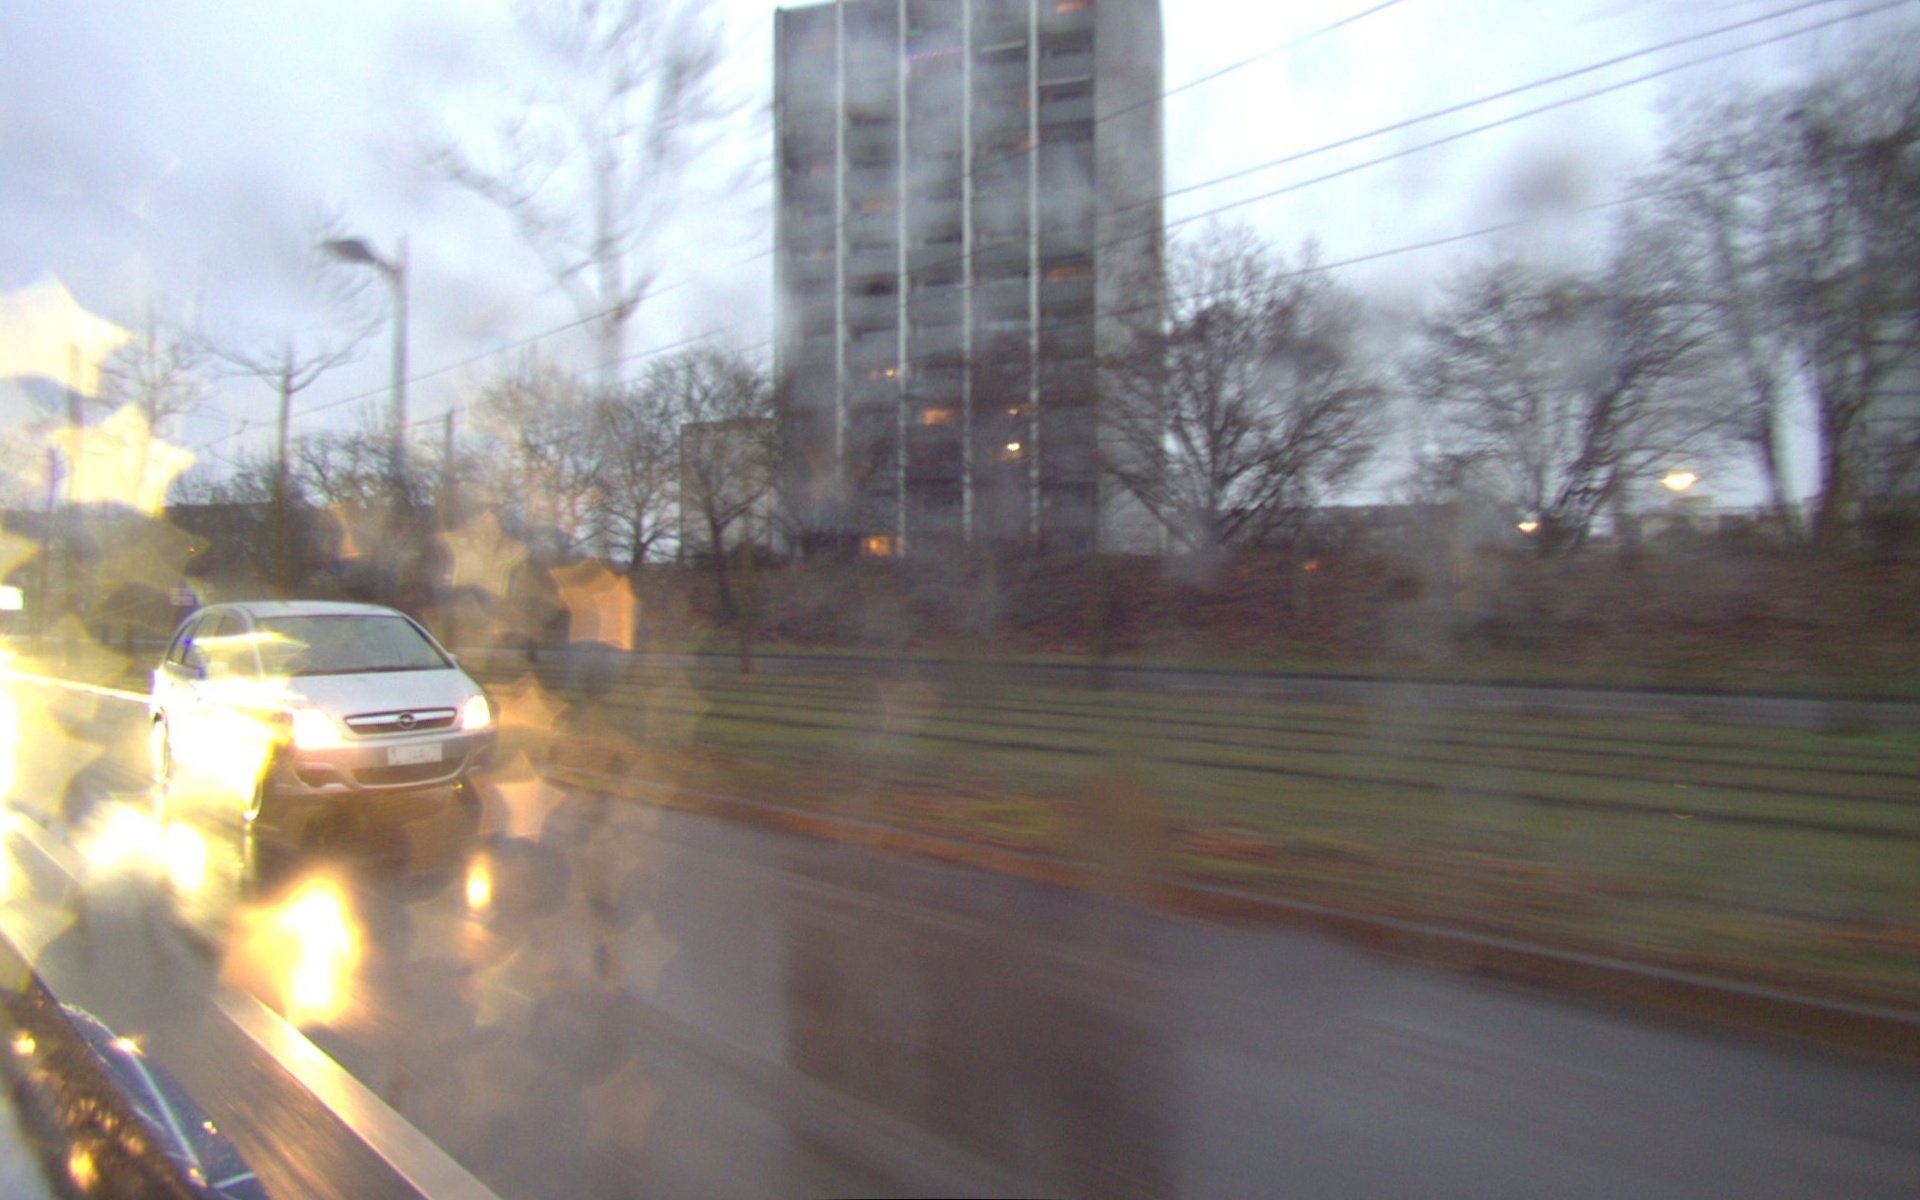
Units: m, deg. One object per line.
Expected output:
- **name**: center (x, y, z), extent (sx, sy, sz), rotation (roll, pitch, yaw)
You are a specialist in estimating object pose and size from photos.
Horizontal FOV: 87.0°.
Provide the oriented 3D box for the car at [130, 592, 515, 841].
- **car**: center (-5.428, 0.774, 8.415), extent (3.921, 1.587, 1.648), rotation (-1, 0, 41)
